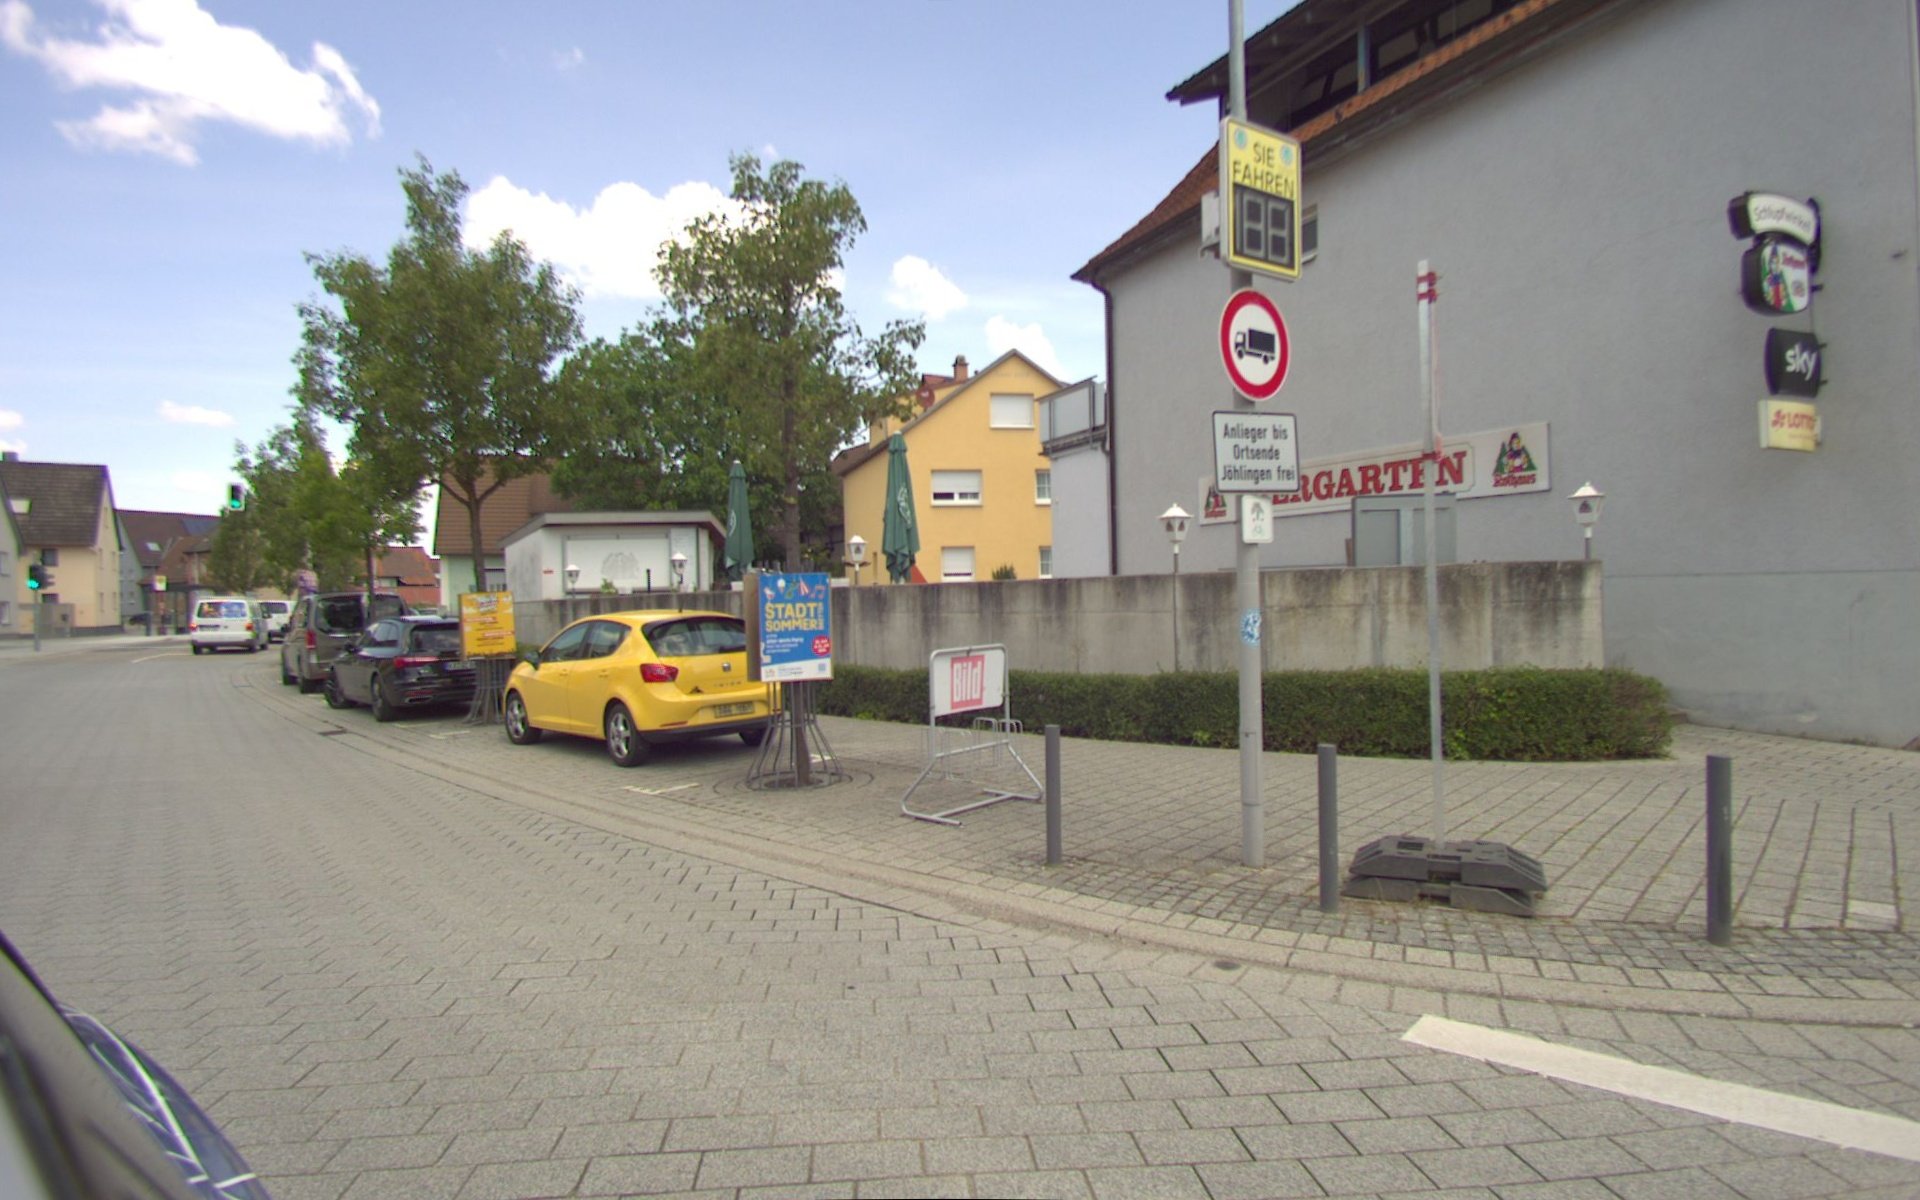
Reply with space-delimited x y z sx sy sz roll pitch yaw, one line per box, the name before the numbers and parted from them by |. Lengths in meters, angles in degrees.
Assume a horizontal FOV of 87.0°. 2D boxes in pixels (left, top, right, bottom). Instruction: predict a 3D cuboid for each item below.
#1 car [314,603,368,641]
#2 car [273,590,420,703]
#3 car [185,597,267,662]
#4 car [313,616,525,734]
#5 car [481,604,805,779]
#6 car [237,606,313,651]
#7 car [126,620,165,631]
car | -35.336 1.229 57.866 1.636 2.029 4.012 -1 0 -16
car | -12.720 0.875 20.828 1.961 2.005 5.054 -1 0 -38
car | -26.855 1.031 37.186 1.861 2.202 5.046 -1 0 -29
car | -8.182 0.997 15.083 1.794 1.434 4.543 -1 0 -41
car | -3.487 0.822 10.685 1.649 1.486 3.965 0 -1 -44
car | -31.280 1.266 46.356 1.965 1.894 4.882 -1 0 -23
car | -82.514 2.589 102.533 3.985 1.068 1.785 -1 0 31
